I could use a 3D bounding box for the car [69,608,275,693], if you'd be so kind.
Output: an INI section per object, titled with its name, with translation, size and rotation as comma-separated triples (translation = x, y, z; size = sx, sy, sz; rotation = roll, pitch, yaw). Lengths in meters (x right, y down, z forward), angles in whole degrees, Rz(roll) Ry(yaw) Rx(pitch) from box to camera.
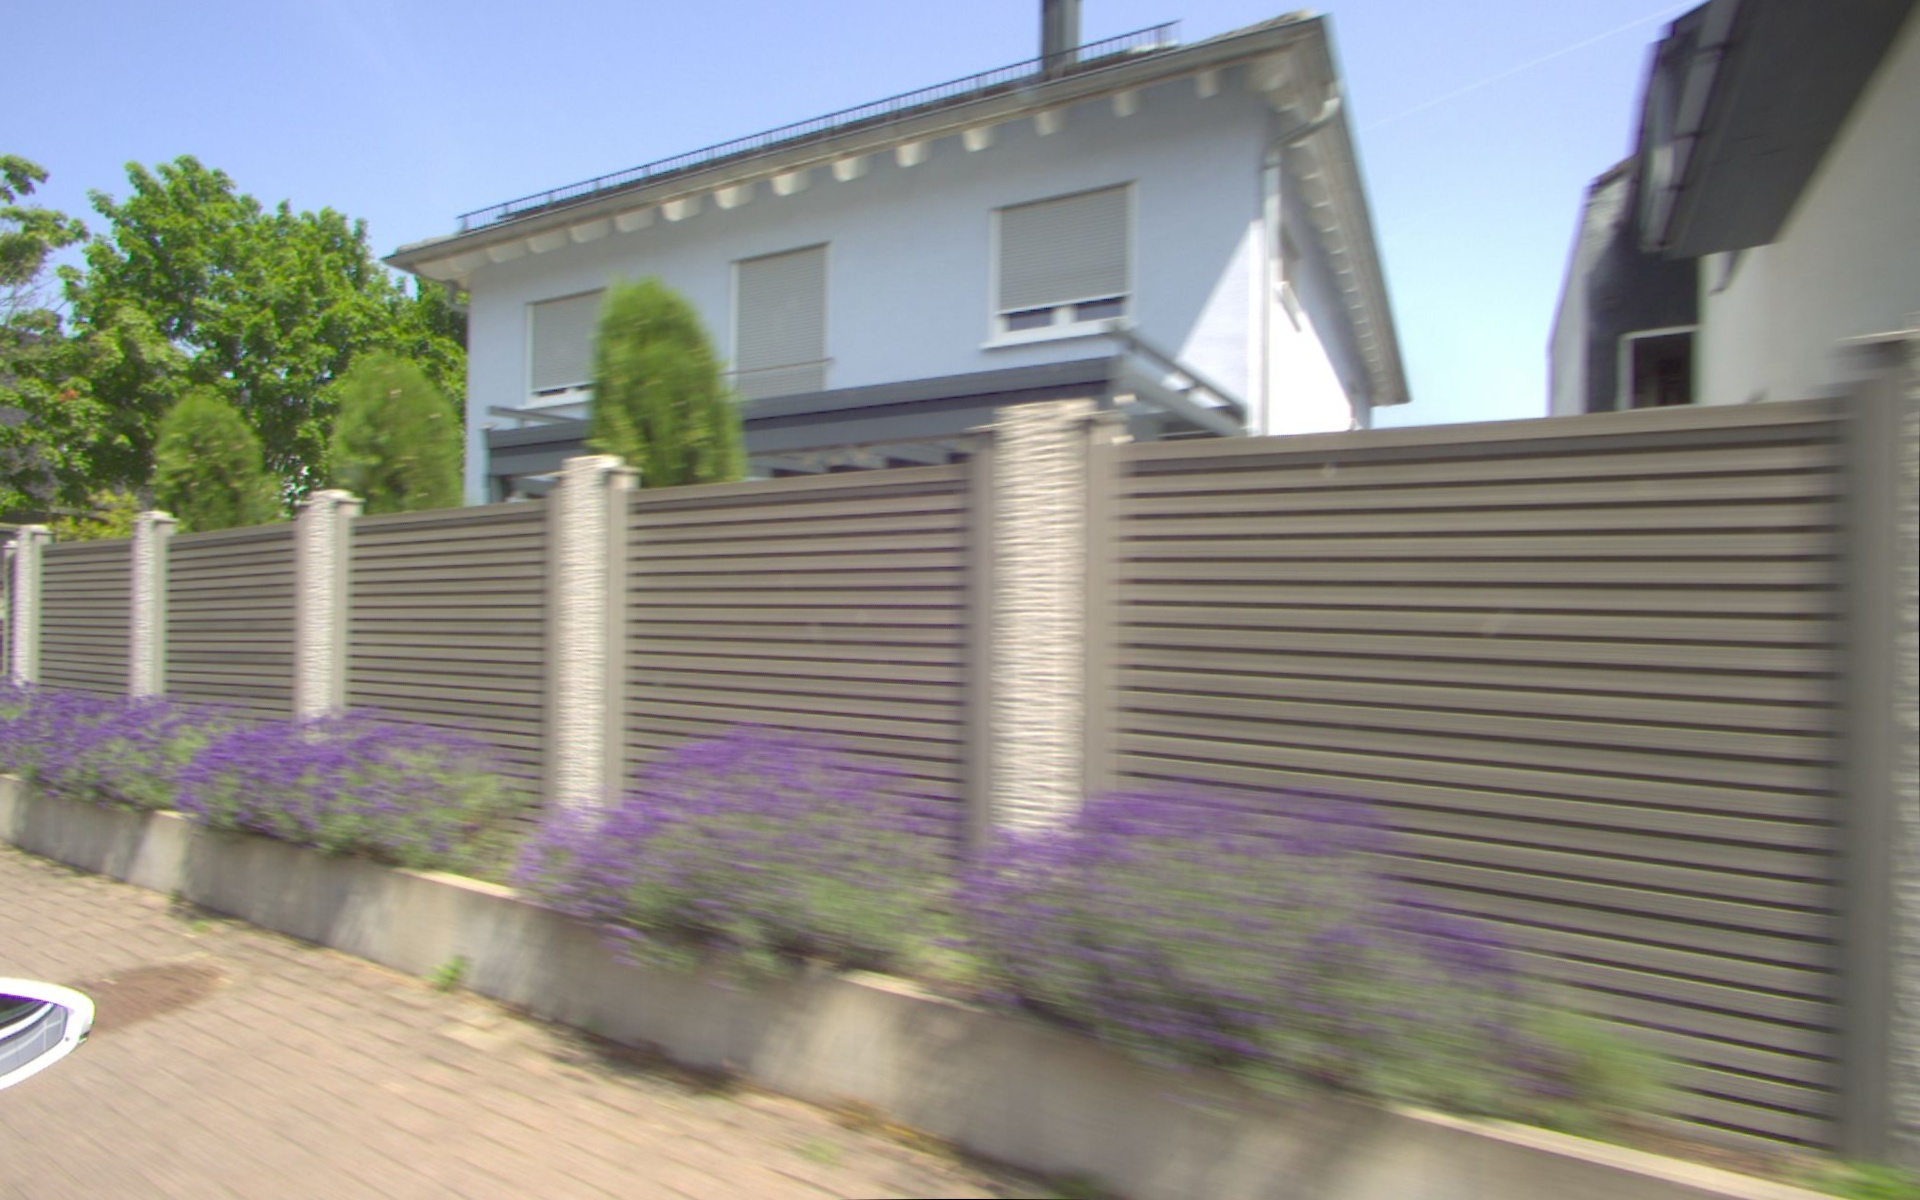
[car]
translation = -15.543, 0.959, 19.763
size = 3.505, 1.463, 1.594
rotation = 2, -1, 21
